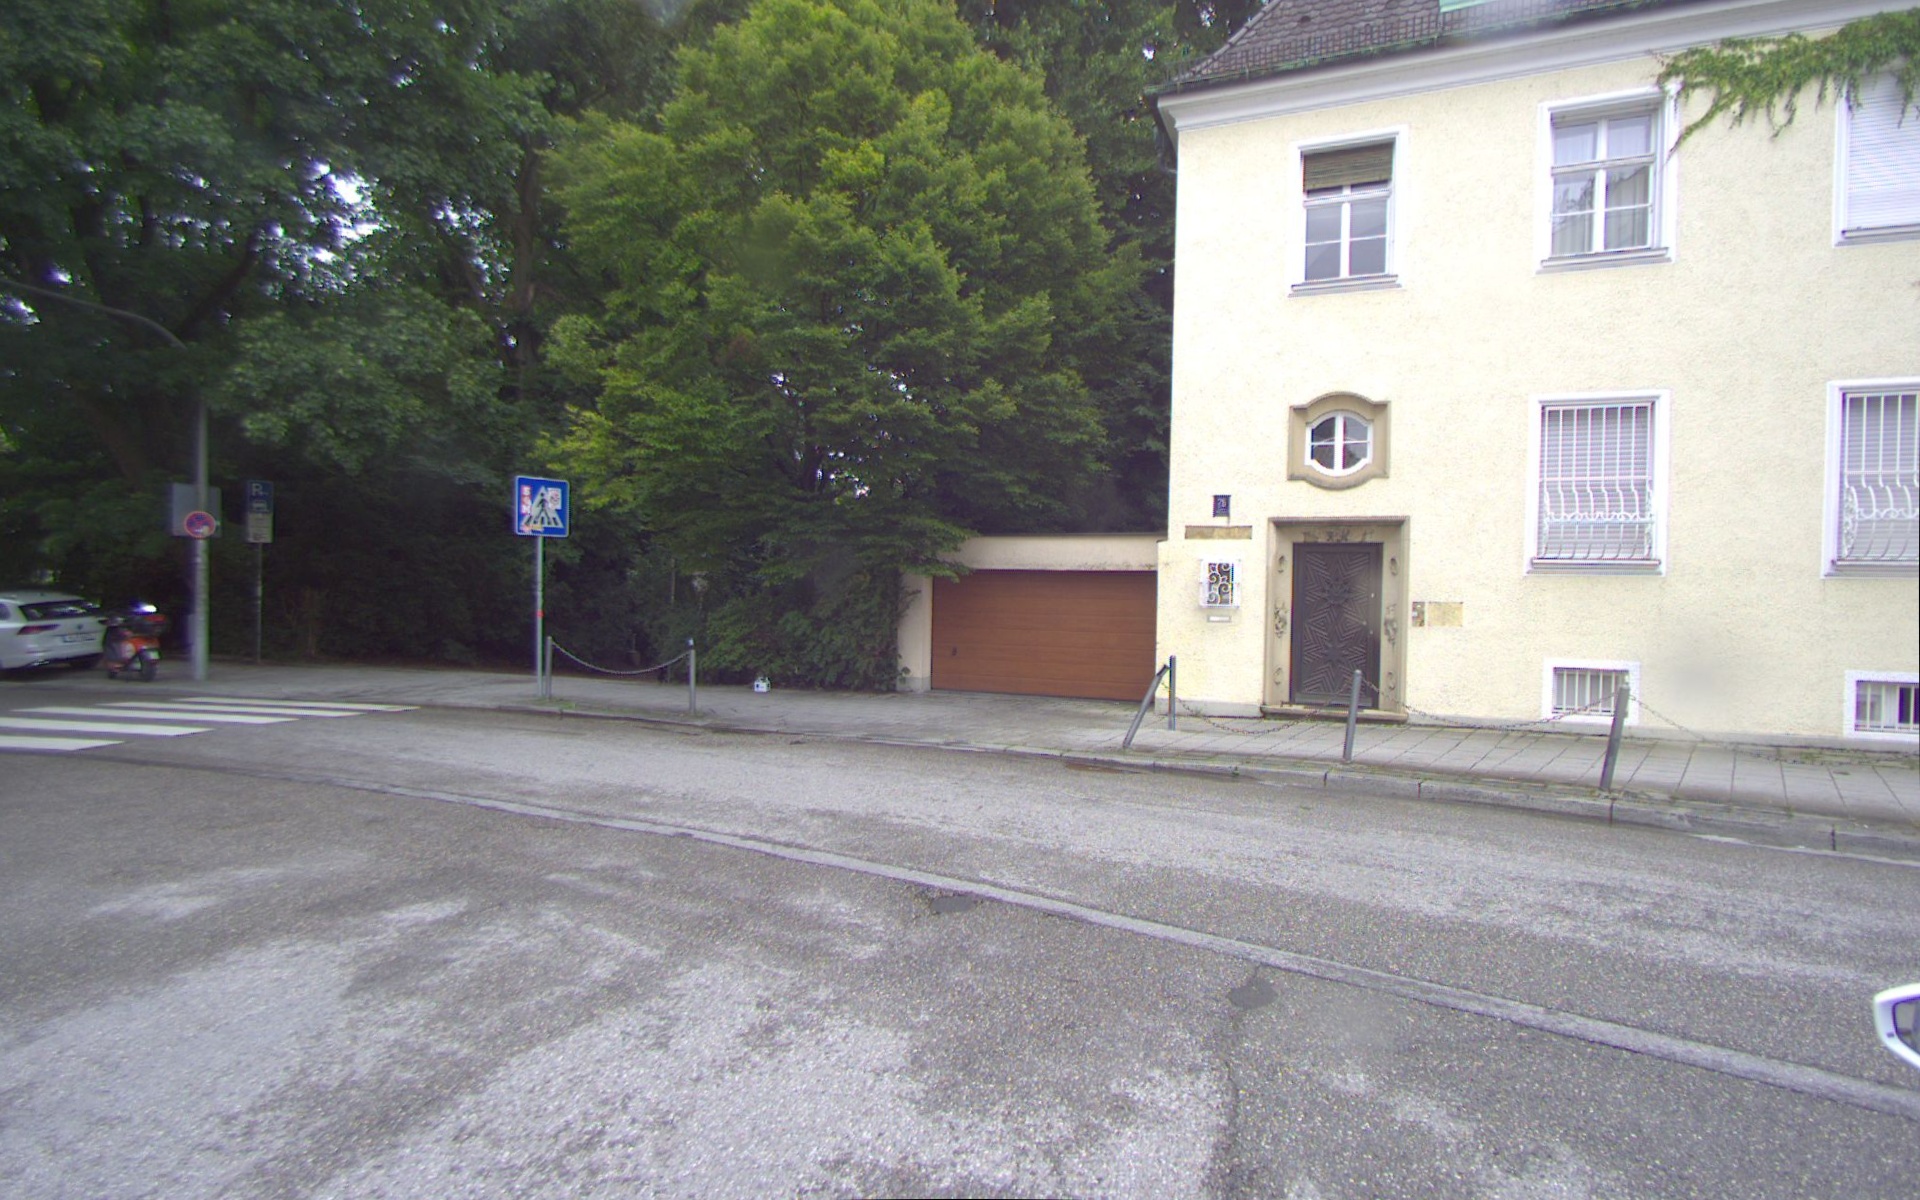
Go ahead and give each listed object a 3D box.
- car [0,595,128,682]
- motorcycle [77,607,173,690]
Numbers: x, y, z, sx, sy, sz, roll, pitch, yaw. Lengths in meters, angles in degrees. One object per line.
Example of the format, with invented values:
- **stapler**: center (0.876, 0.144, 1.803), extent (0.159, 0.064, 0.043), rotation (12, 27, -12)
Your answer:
- **car**: center (-17.695, 0.638, 18.198), extent (4.345, 1.468, 1.626), rotation (1, -1, 11)
- **motorcycle**: center (-13.677, 0.751, 16.442), extent (1.976, 1.200, 0.855), rotation (2, 3, 41)
